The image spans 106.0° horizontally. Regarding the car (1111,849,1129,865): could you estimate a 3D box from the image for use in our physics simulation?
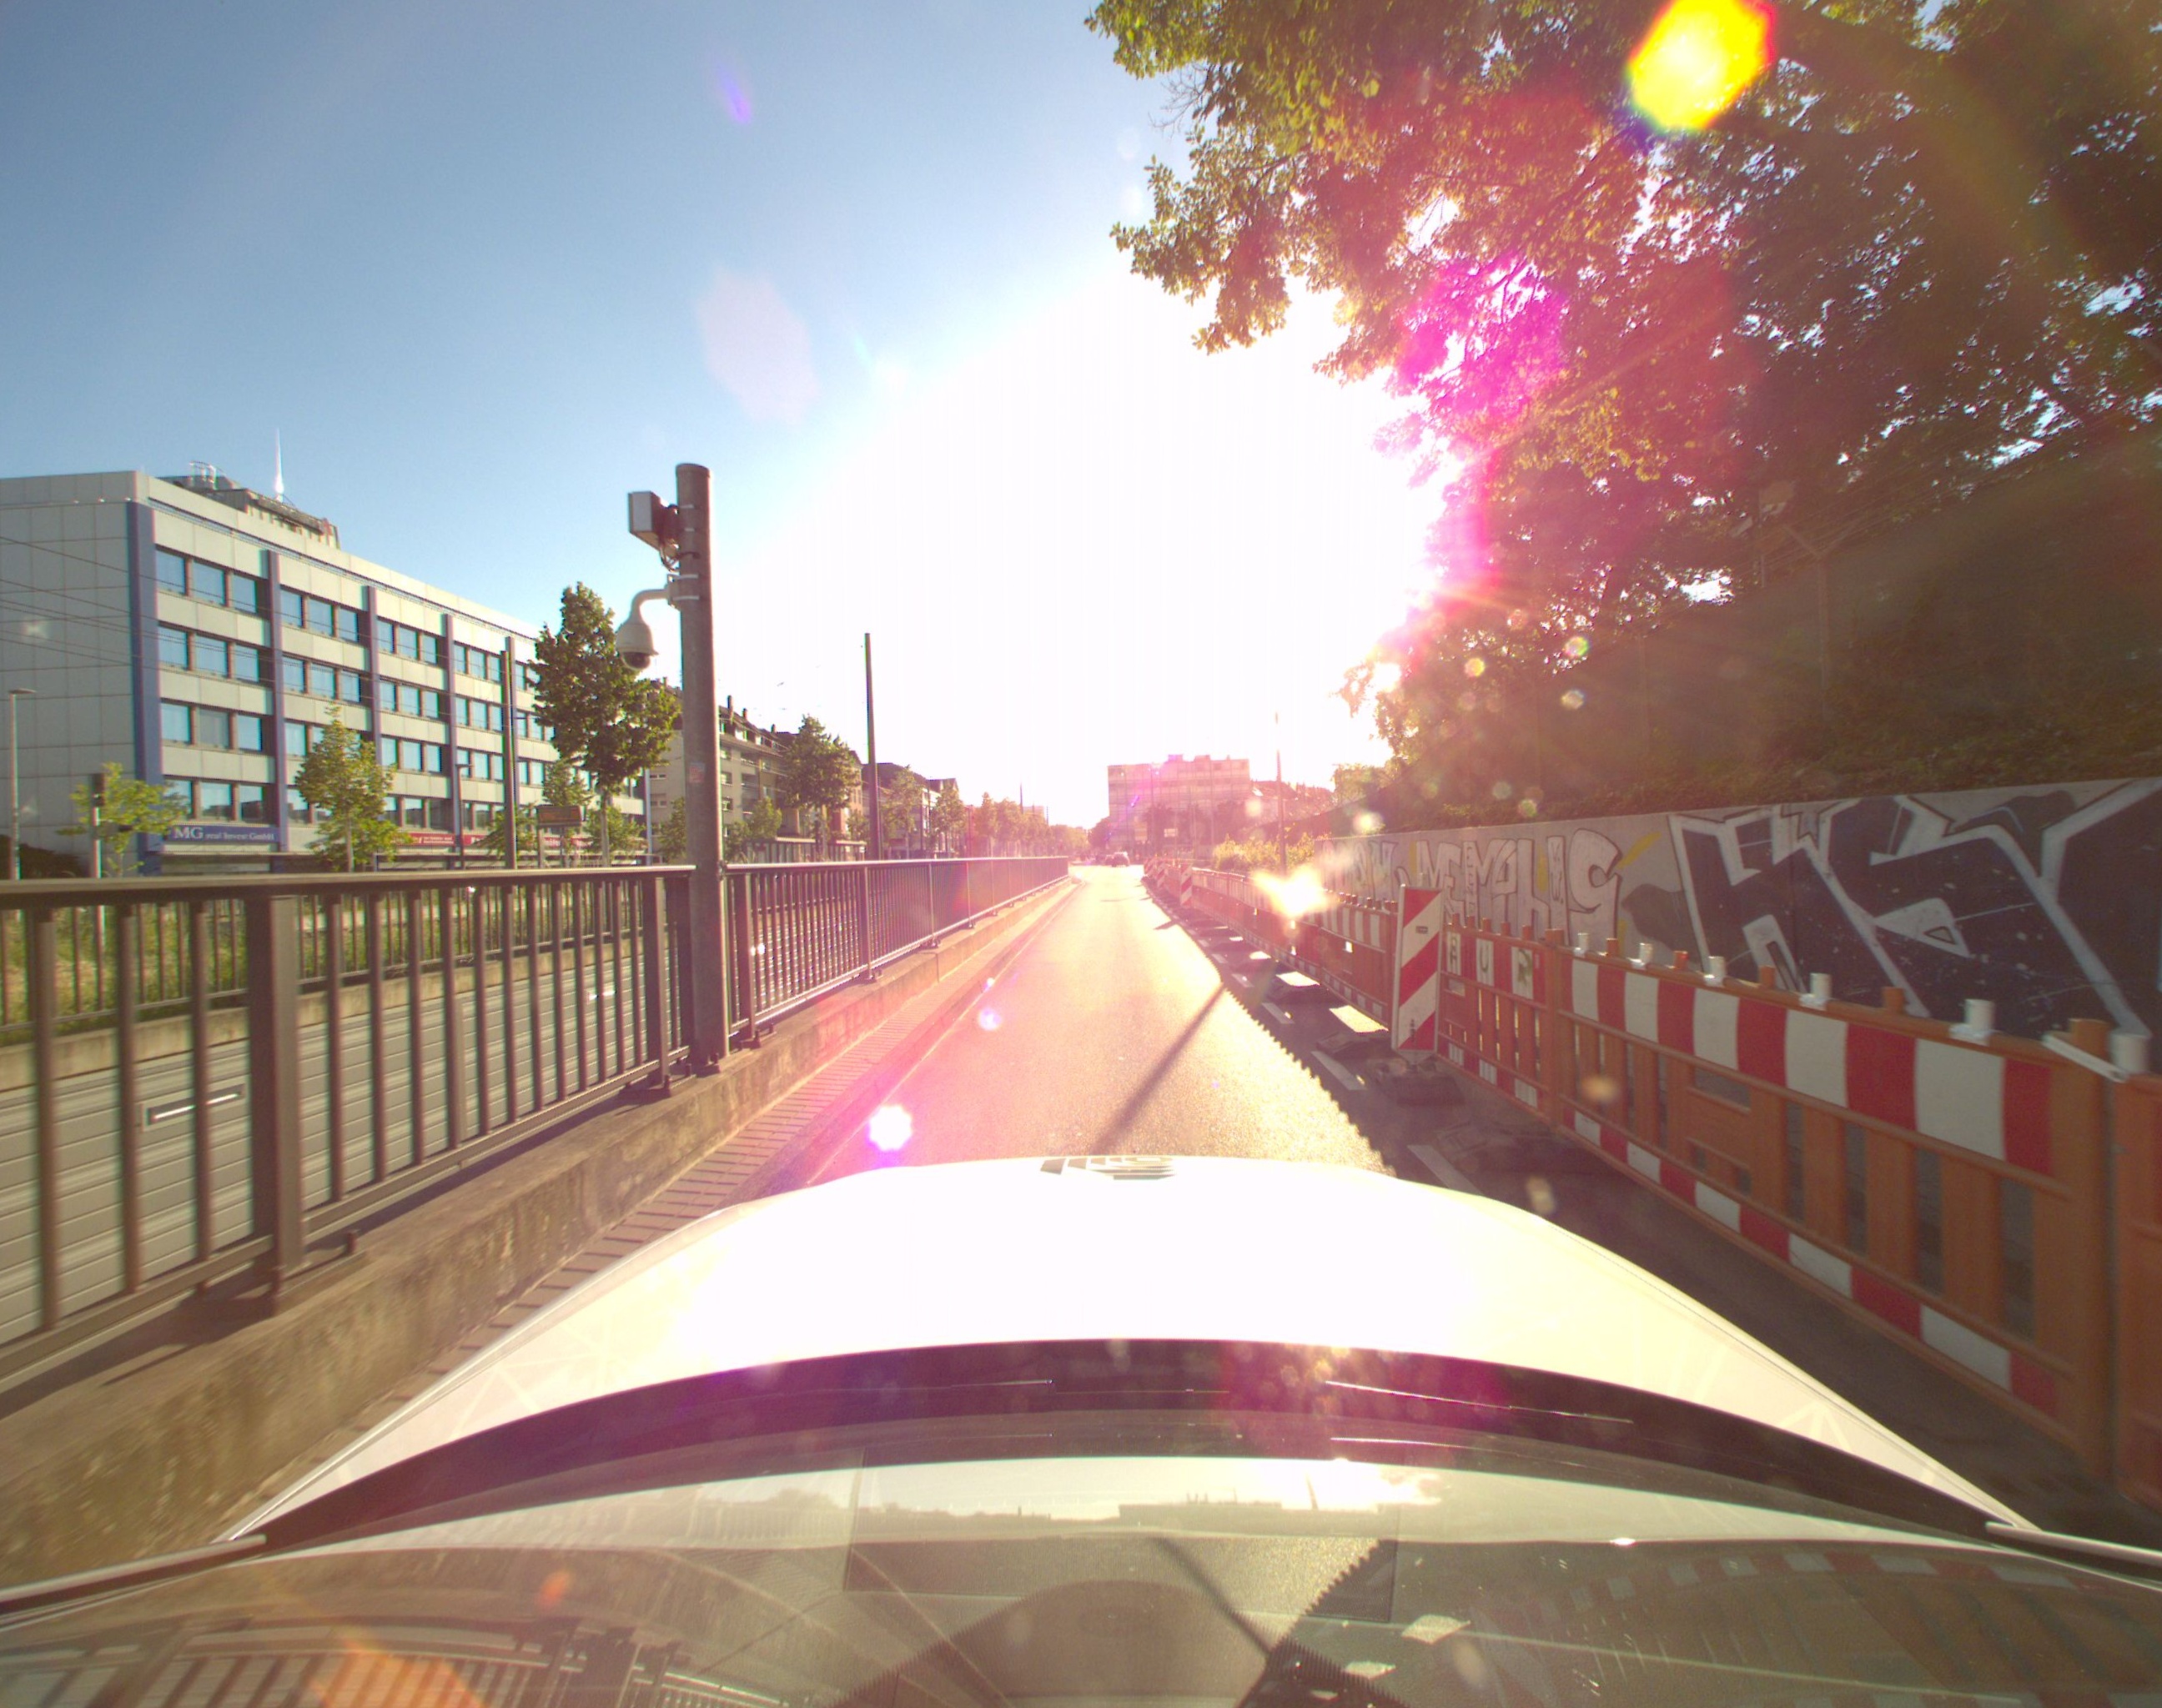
[{"bbox_3d":[4.713,0.342,98.136,1.984,1.693,4.007,-1,1,5],"label":"car"}]

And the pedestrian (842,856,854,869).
[{"bbox_3d":[-18.329,0.672,64.000,0.625,1.047,0.794,-2,0,1],"label":"pedestrian"}]

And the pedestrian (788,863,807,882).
[{"bbox_3d":[-18.897,1.214,54.232,0.930,1.197,0.764,-2,0,1],"label":"pedestrian"}]

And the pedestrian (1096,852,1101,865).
[{"bbox_3d":[2.712,0.746,125.566,0.610,2.013,0.511,-2,0,5],"label":"pedestrian"}]

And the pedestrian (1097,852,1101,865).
[{"bbox_3d":[2.772,0.746,126.123,0.610,2.013,0.511,-2,0,5],"label":"pedestrian"}]

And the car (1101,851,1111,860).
[{"bbox_3d":[6.567,0.396,215.799,2.477,2.392,5.935,-4,-1,1],"label":"car"}]

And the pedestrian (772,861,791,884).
[{"bbox_3d":[-19.018,1.141,51.661,0.835,1.410,0.804,-2,0,1],"label":"pedestrian"}]

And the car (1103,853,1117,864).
[{"bbox_3d":[3.977,0.546,111.744,1.737,1.426,4.001,-2,0,1],"label":"car"}]
